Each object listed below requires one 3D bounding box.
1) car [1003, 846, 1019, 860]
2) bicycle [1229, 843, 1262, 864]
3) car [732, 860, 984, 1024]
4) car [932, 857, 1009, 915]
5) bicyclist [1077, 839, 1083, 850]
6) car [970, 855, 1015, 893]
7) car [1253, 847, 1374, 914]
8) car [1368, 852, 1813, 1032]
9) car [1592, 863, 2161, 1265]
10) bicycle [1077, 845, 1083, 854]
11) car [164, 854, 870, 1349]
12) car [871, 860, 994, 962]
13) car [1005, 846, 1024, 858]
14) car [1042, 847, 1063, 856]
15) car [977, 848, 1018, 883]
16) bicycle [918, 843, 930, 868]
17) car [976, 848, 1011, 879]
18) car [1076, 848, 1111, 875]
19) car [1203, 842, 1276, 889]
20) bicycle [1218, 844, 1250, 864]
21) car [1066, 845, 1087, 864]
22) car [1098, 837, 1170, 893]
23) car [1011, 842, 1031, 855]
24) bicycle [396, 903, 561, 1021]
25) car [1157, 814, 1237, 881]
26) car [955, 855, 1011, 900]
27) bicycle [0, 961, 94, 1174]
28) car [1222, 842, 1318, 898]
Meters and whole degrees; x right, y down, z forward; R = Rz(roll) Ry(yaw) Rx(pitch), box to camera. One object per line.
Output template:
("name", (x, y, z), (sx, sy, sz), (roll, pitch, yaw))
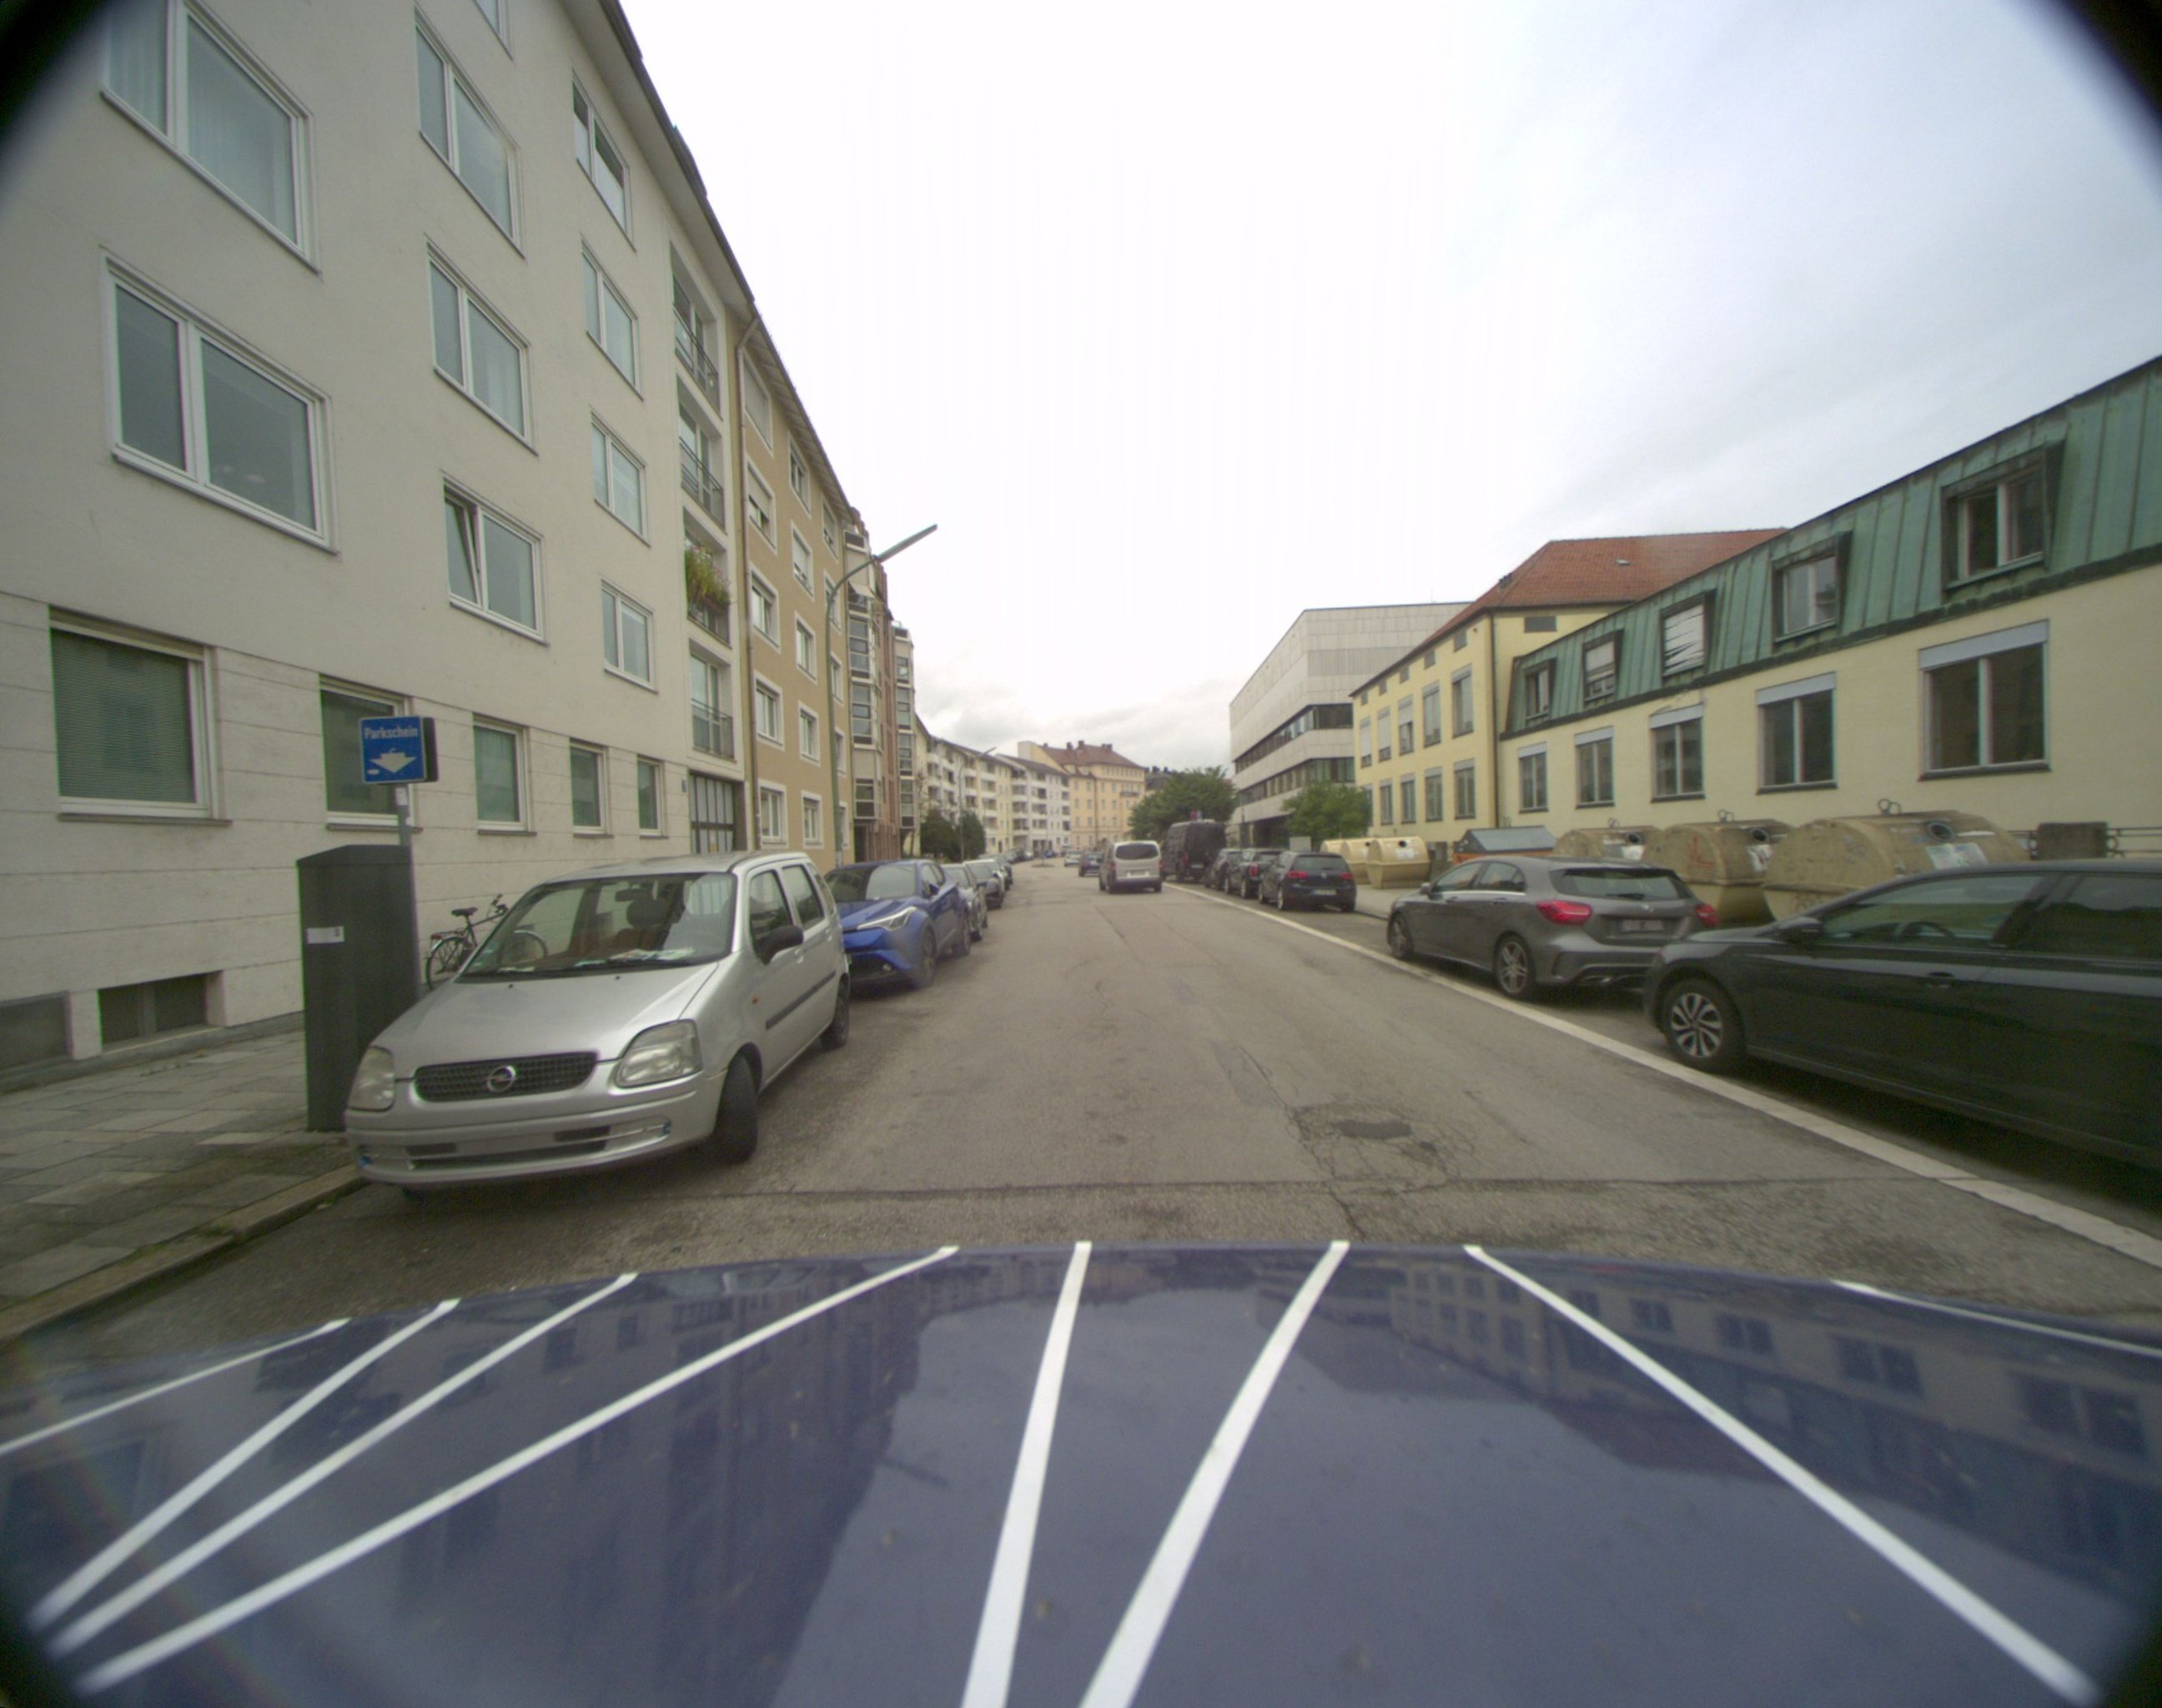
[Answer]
("car", (-8.497, -0.150, 92.348), (1.755, 1.483, 3.997), (-3, 1, -5))
("bicycle", (9.684, -0.020, 44.703), (1.814, 1.145, 0.519), (-3, 2, 9))
("car", (-2.575, 0.928, 10.045), (1.746, 1.486, 4.548), (-3, 1, 2))
("car", (-3.331, 0.893, 23.742), (1.960, 1.406, 5.110), (-3, 1, -4))
("bicyclist", (-0.169, -1.245, 100.221), (0.618, 1.343, 0.832), (-3, 2, -5))
("car", (-4.063, 0.846, 34.540), (1.763, 1.358, 4.777), (-7, 2, -7))
("car", (5.790, 0.580, 19.516), (1.918, 1.473, 4.532), (0, 1, 3))
("car", (5.179, 0.744, 8.737), (2.019, 1.410, 4.614), (0, 2, 0))
("car", (4.878, 0.815, 3.706), (1.754, 1.397, 4.353), (0, 1, -1))
("bicycle", (-0.146, -0.581, 100.286), (0.707, 1.042, 1.463), (-4, 0, -5))
("car", (-2.599, 0.913, 4.750), (1.686, 1.664, 3.802), (-4, 1, -5))
("car", (-2.711, 0.964, 14.836), (1.710, 1.446, 4.399), (-5, 1, -4))
("car", (-8.495, -0.284, 97.452), (1.824, 1.467, 4.000), (-3, 1, 1))
("car", (-4.764, -0.407, 126.506), (1.680, 1.281, 4.006), (-2, 1, 27))
("car", (-4.419, 0.558, 39.832), (1.883, 1.636, 4.640), (-3, 1, -9))
("bicycle", (-13.240, 0.106, 64.300), (0.653, 2.002, 1.992), (-3, 1, -5))
("car", (-5.132, 0.519, 44.500), (1.883, 1.582, 4.504), (-3, 1, -7))
("car", (0.720, 0.411, 45.791), (1.666, 1.466, 3.705), (-3, 1, -5))
("car", (5.883, 0.375, 28.783), (1.885, 1.627, 4.348), (0, 1, 1))
("bicycle", (9.347, -0.012, 46.323), (1.815, 1.145, 0.519), (-3, 2, 0))
("car", (-0.467, 0.019, 72.649), (1.797, 1.664, 4.148), (-2, 1, -2))
("car", (1.871, 0.349, 28.723), (1.921, 1.838, 5.318), (-3, 1, -4))
("car", (-8.020, -0.808, 102.143), (1.998, 1.587, 4.000), (-2, 1, 4))
("bicycle", (-6.995, 1.199, 8.965), (0.530, 1.065, 1.999), (-3, 1, -8))
("car", (5.222, -0.311, 35.322), (2.219, 2.837, 6.192), (0, 1, -5))
("car", (-3.677, 0.826, 29.130), (1.859, 1.406, 5.011), (-3, 1, -5))
("bicycle", (-6.225, 1.216, 3.530), (0.725, 1.106, 1.993), (-3, 1, -6))
("car", (5.905, 0.459, 24.277), (1.918, 1.578, 4.351), (1, 0, -1))
